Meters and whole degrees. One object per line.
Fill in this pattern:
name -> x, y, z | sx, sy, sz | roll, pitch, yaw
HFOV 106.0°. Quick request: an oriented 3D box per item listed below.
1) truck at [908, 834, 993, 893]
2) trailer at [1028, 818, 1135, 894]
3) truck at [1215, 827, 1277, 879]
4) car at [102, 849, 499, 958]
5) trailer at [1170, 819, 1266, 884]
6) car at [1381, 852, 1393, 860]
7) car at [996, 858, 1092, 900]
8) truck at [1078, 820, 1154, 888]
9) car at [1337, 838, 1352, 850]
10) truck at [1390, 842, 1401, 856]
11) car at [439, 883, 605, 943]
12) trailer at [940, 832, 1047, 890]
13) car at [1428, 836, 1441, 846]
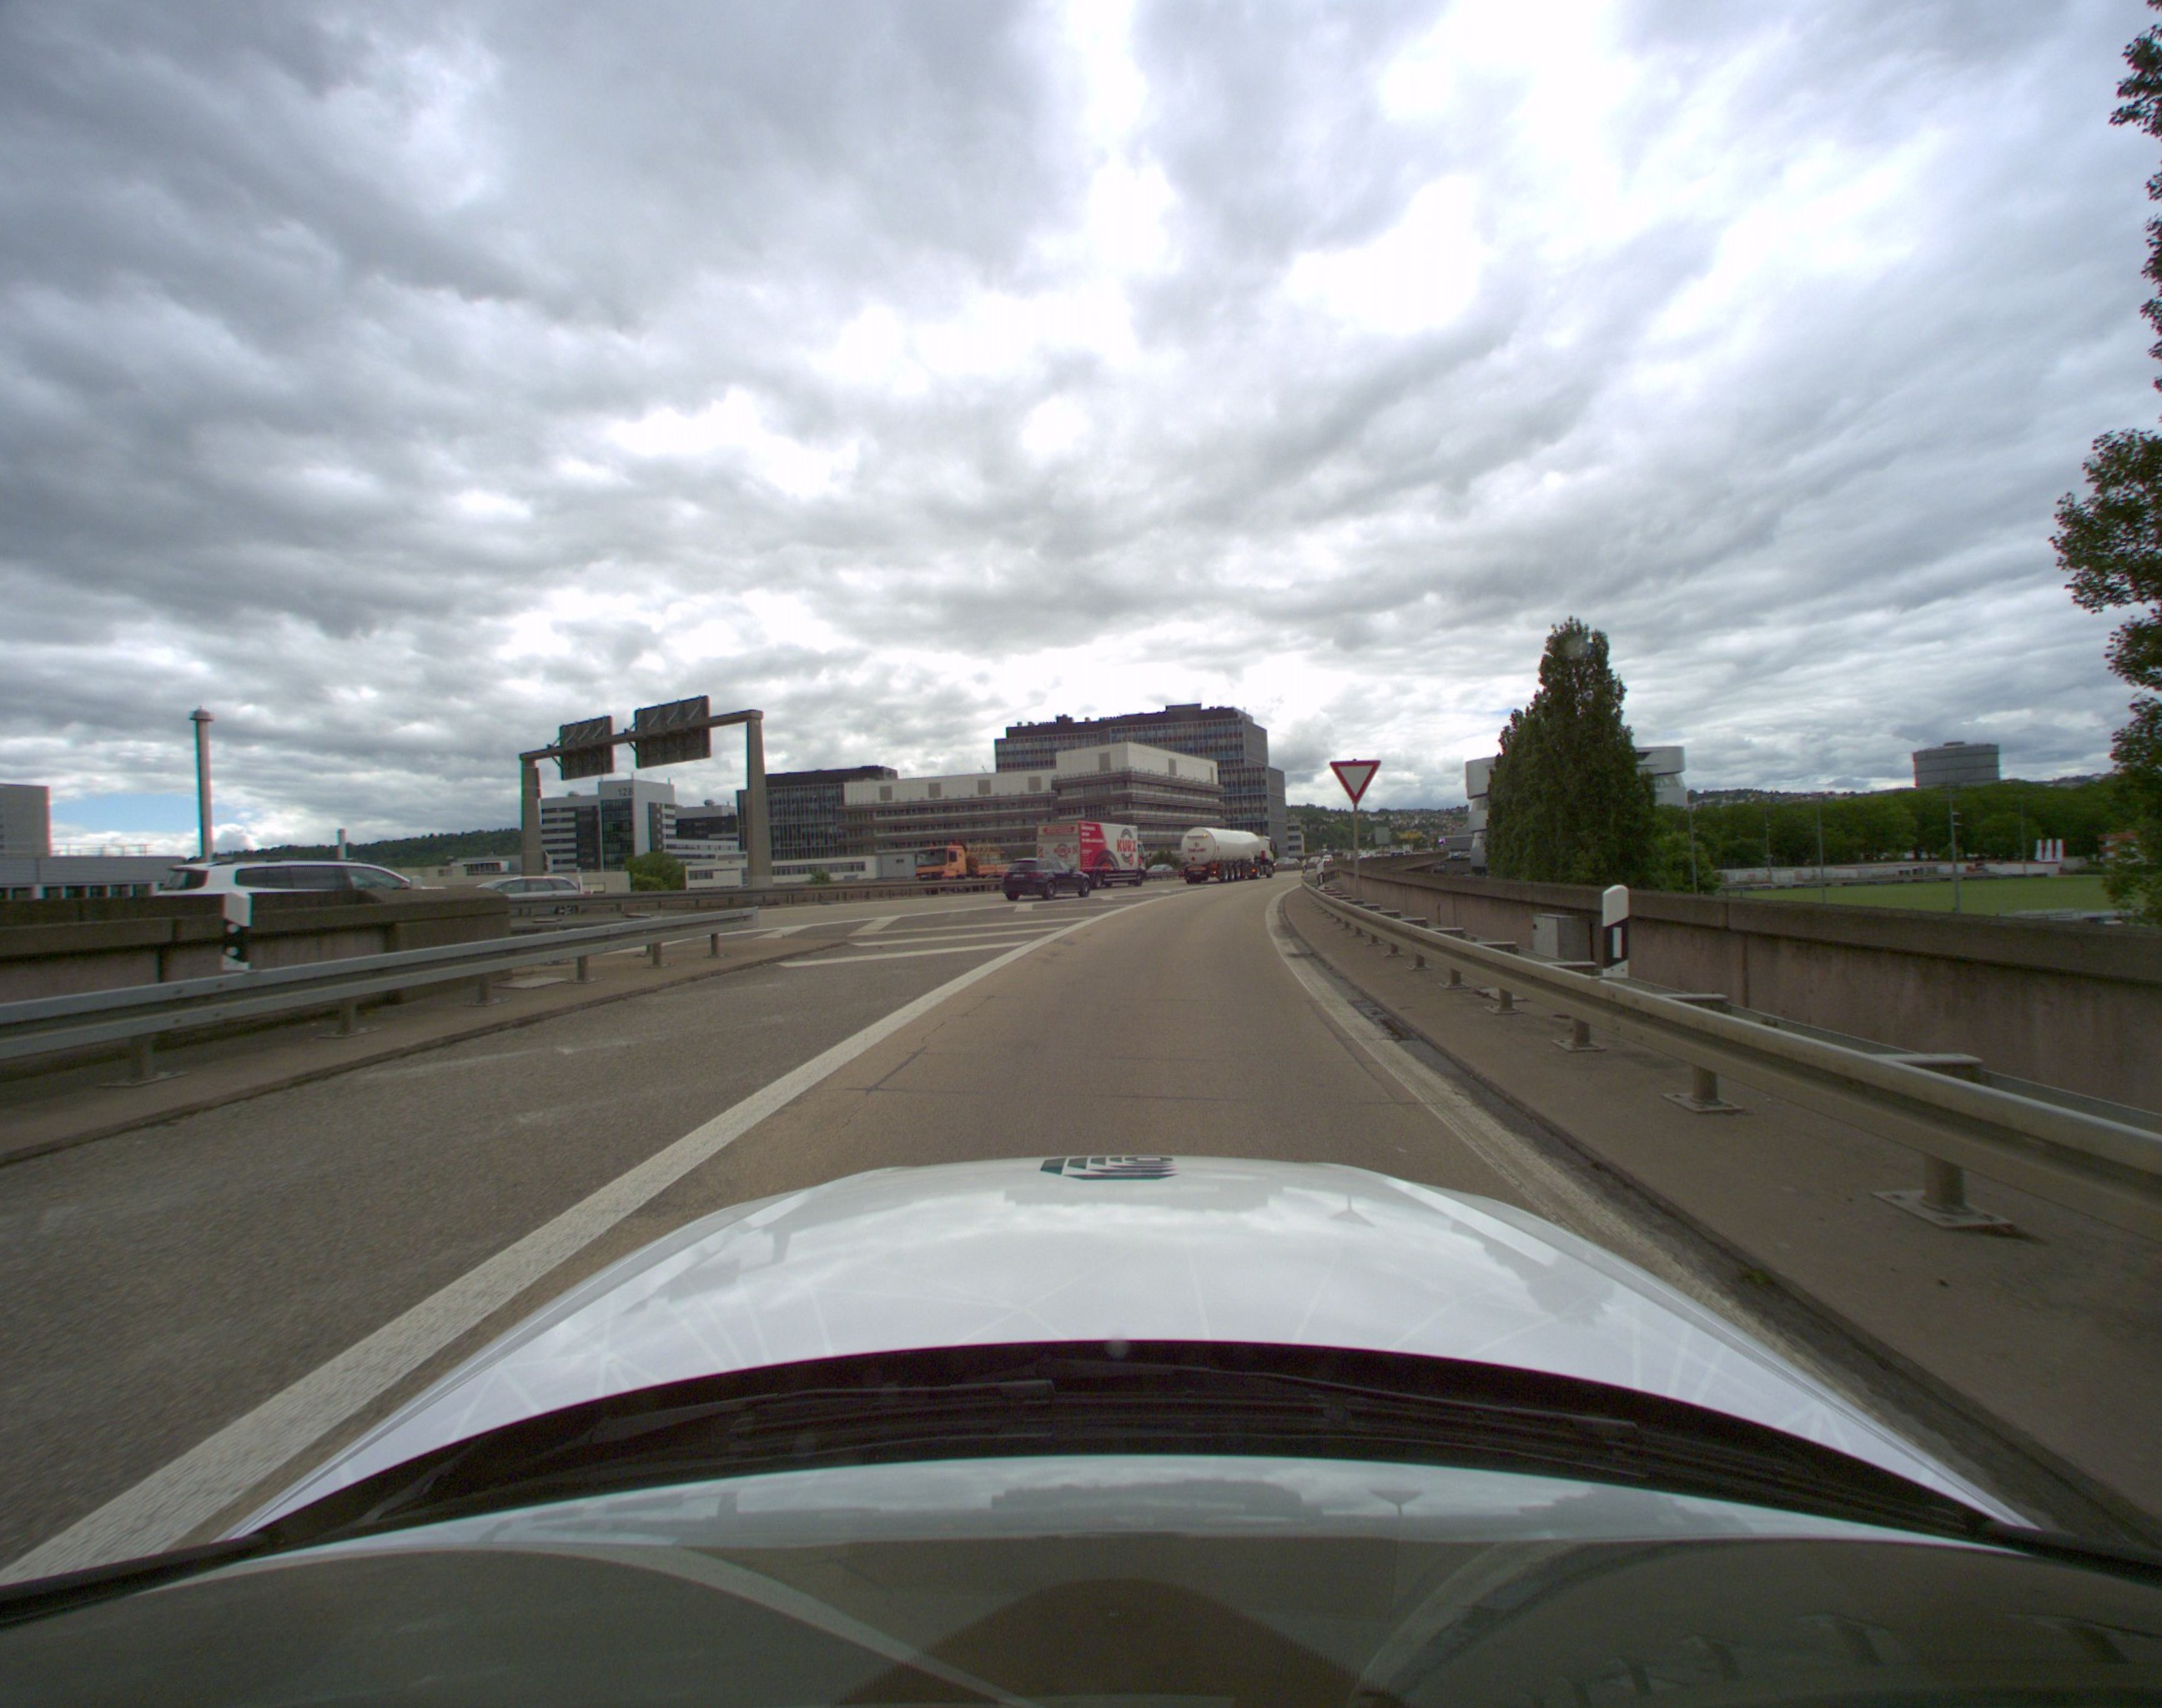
truck -> -8.275, 0.585, 52.070 | 2.716, 3.480, 5.136 | -3, -1, 26
trailer -> 0.212, 0.077, 44.342 | 2.665, 3.690, 7.356 | -3, -1, 26
truck -> 12.012, -0.085, 58.867 | 2.743, 3.430, 6.000 | -3, -1, 26
car -> -14.014, 0.766, 15.044 | 1.974, 1.668, 4.922 | -1, 0, 30
trailer -> 9.218, -0.189, 53.348 | 2.766, 3.737, 11.222 | -3, -1, 27
car -> 62.495, 0.387, 166.425 | 1.976, 1.538, 4.022 | -1, -2, 24
car -> -1.364, 0.940, 31.917 | 1.829, 1.505, 4.291 | -1, 0, 27
truck -> 2.133, 0.013, 48.163 | 2.665, 3.690, 4.466 | -3, -1, 27
car -> 46.171, -1.793, 142.816 | 1.627, 1.234, 4.310 | -9, 3, 29
truck -> 92.534, -1.541, 239.676 | 2.372, 3.893, 5.978 | -3, -1, 27
car -> -17.086, 1.768, 25.095 | 1.629, 1.518, 3.862 | -3, -1, 27
trailer -> -5.886, 0.459, 56.987 | 2.709, 3.636, 9.411 | -3, -1, 26
car -> 60.985, -2.239, 140.590 | 1.678, 1.551, 3.664 | -3, -2, 29
